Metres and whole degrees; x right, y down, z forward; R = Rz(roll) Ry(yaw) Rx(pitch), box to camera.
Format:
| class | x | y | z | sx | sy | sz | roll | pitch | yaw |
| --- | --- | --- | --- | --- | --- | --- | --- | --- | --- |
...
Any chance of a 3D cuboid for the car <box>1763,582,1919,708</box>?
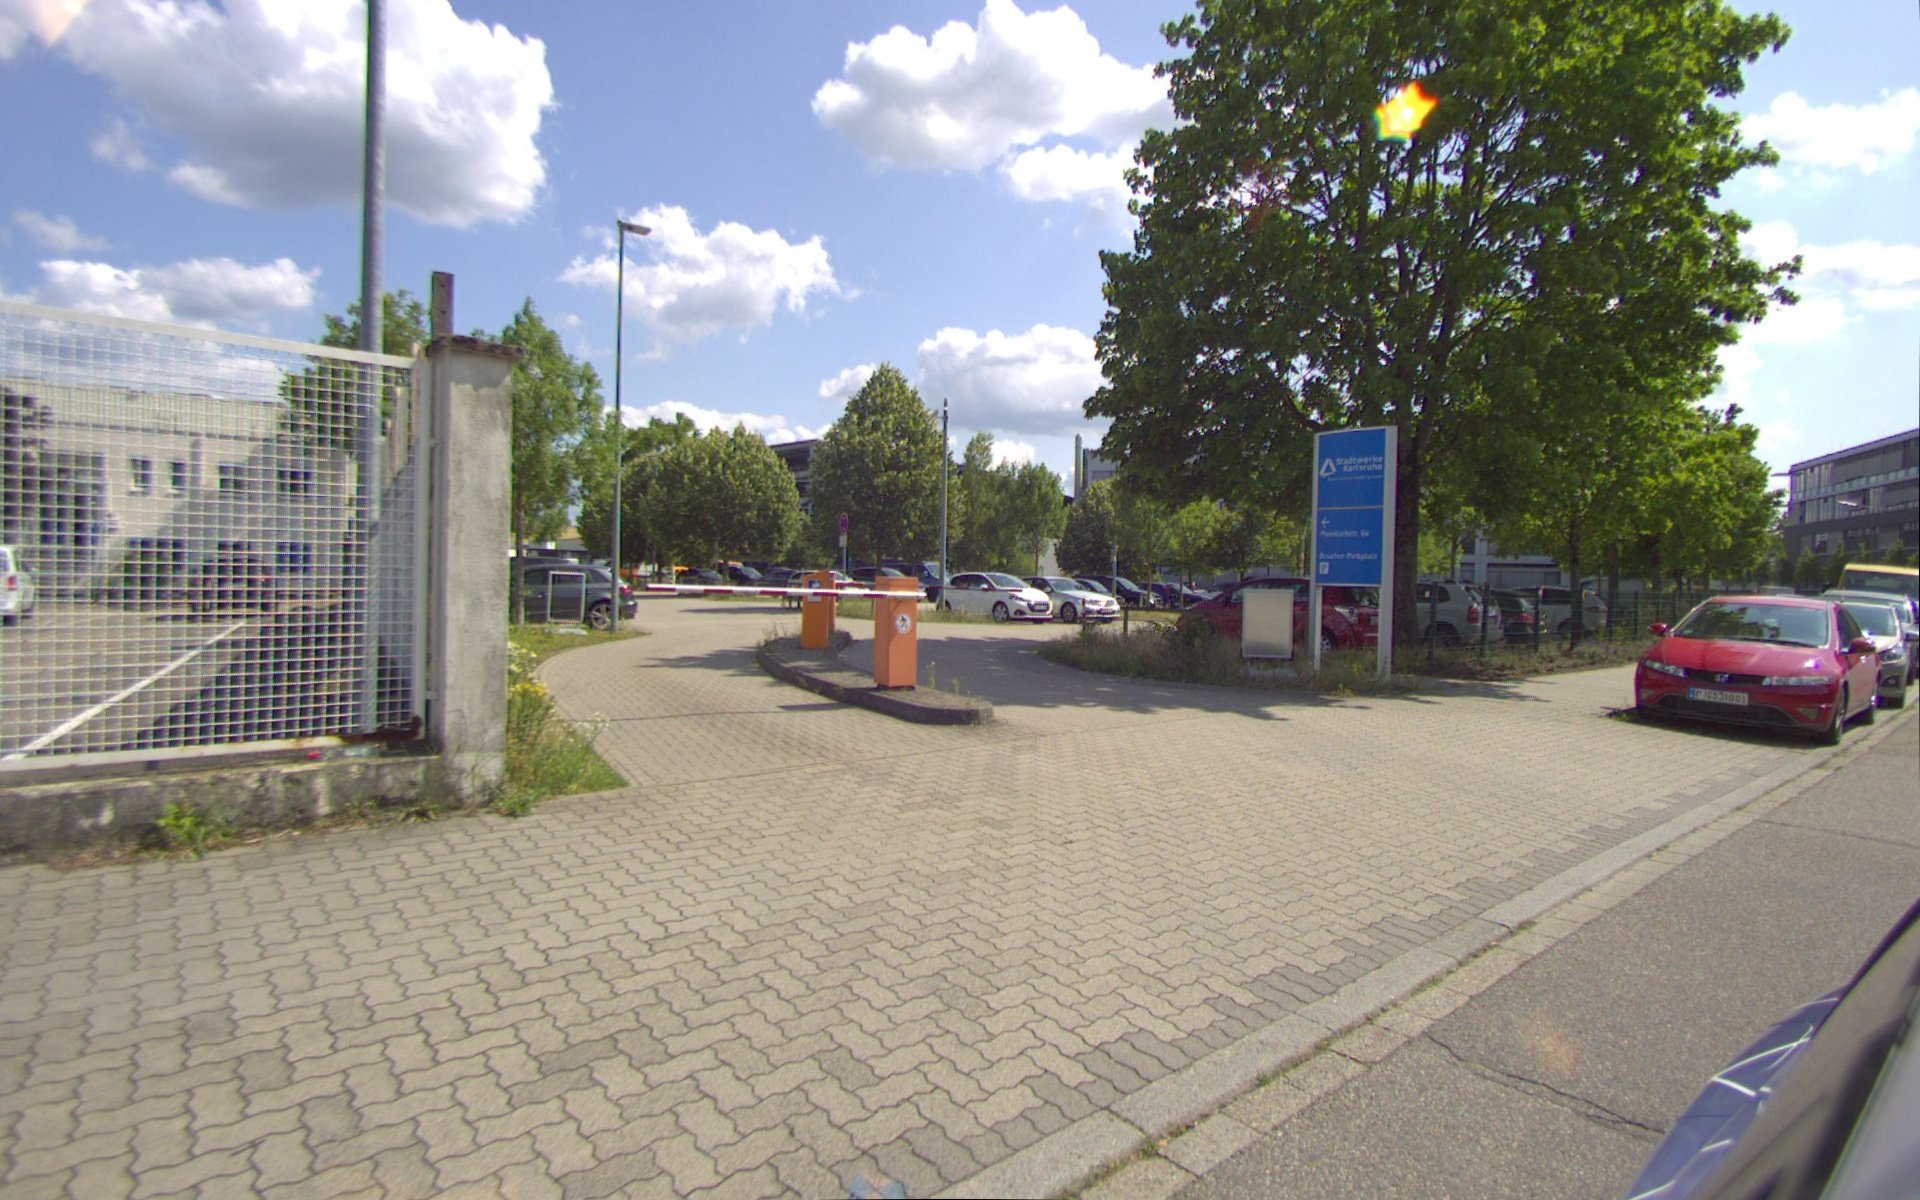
| class | x | y | z | sx | sy | sz | roll | pitch | yaw |
| --- | --- | --- | --- | --- | --- | --- | --- | --- | --- |
| car | 13.262 | 0.585 | 15.021 | 1.701 | 1.504 | 3.748 | 7 | 5 | 43 |

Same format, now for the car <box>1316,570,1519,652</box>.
| class | x | y | z | sx | sy | sz | roll | pitch | yaw |
| --- | --- | --- | --- | --- | --- | --- | --- | --- | --- |
| car | 10.639 | 0.191 | 23.727 | 1.876 | 1.657 | 3.883 | 0 | 2 | -40 |

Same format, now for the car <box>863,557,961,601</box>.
| class | x | y | z | sx | sy | sz | roll | pitch | yaw |
| --- | --- | --- | --- | --- | --- | --- | --- | --- | --- |
| car | -2.477 | -1.033 | 51.223 | 4.920 | 2.130 | 2.080 | 1 | 0 | 41 |

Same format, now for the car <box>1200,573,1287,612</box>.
| class | x | y | z | sx | sy | sz | roll | pitch | yaw |
| --- | --- | --- | --- | --- | --- | --- | --- | --- | --- |
| car | 15.278 | -0.423 | 54.669 | 4.073 | 1.959 | 1.971 | 2 | 1 | 38 |

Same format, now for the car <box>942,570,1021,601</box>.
| class | x | y | z | sx | sy | sz | roll | pitch | yaw |
| --- | --- | --- | --- | --- | --- | --- | --- | --- | --- |
| car | 1.143 | -0.750 | 54.177 | 3.982 | 1.576 | 1.863 | 1 | 0 | 41 |

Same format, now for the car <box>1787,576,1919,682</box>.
| class | x | y | z | sx | sy | sz | roll | pitch | yaw |
| --- | --- | --- | --- | --- | --- | --- | --- | --- | --- |
| car | 17.141 | 0.492 | 18.965 | 4.491 | 1.627 | 1.836 | 1 | 5 | -43 |

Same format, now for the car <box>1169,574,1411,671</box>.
| class | x | y | z | sx | sy | sz | roll | pitch | yaw |
| --- | --- | --- | --- | --- | --- | --- | --- | --- | --- |
| car | 6.488 | 0.362 | 20.265 | 1.876 | 1.613 | 4.218 | 0 | 2 | -40 |

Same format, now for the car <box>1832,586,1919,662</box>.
| class | x | y | z | sx | sy | sz | roll | pitch | yaw |
| --- | --- | --- | --- | --- | --- | --- | --- | --- | --- |
| car | 21.464 | 0.511 | 23.263 | 1.876 | 1.494 | 5.087 | 6 | 4 | 43 |

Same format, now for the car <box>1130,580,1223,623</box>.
| class | x | y | z | sx | sy | sz | roll | pitch | yaw |
| --- | --- | --- | --- | --- | --- | --- | --- | --- | --- |
| car | 10.845 | 0.043 | 50.789 | 4.073 | 1.959 | 1.971 | 2 | 1 | 38 |

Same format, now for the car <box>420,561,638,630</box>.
| class | x | y | z | sx | sy | sz | roll | pitch | yaw |
| --- | --- | --- | --- | --- | --- | --- | --- | --- | --- |
| car | -9.102 | -0.096 | 21.452 | 4.107 | 1.351 | 1.642 | 0 | 0 | -29 |

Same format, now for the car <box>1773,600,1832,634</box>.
| class | x | y | z | sx | sy | sz | roll | pitch | yaw |
| --- | --- | --- | --- | --- | --- | --- | --- | --- | --- |
| car | 48.074 | 0.928 | 57.802 | 1.854 | 1.703 | 4.656 | 5 | 3 | 32 |

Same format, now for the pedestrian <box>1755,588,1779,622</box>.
| class | x | y | z | sx | sy | sz | roll | pitch | yaw |
| --- | --- | --- | --- | --- | --- | --- | --- | --- | --- |
| pedestrian | 42.434 | 0.278 | 53.216 | 0.718 | 1.713 | 0.731 | 6 | 3 | 31 |

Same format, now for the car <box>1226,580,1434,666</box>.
| class | x | y | z | sx | sy | sz | roll | pitch | yaw |
| --- | --- | --- | --- | --- | --- | --- | --- | --- | --- |
| car | 8.118 | 0.428 | 22.444 | 1.876 | 1.613 | 3.883 | 0 | 2 | -40 |

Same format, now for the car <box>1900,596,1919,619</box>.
| class | x | y | z | sx | sy | sz | roll | pitch | yaw |
| --- | --- | --- | --- | --- | --- | --- | --- | --- | --- |
| car | 62.361 | 0.462 | 65.096 | 1.722 | 1.463 | 3.894 | 0 | 0 | 27 |

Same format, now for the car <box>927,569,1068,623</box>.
| class | x | y | z | sx | sy | sz | roll | pitch | yaw |
| --- | --- | --- | --- | --- | --- | --- | --- | --- | --- |
| car | 1.041 | -0.130 | 29.275 | 1.981 | 1.413 | 3.756 | 1 | 1 | -45 |

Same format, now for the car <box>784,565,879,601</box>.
| class | x | y | z | sx | sy | sz | roll | pitch | yaw |
| --- | --- | --- | --- | --- | --- | --- | --- | --- | --- |
| car | -5.930 | -0.768 | 46.533 | 4.262 | 1.576 | 1.971 | 1 | 0 | 40 |

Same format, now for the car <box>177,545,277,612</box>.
| class | x | y | z | sx | sy | sz | roll | pitch | yaw |
| --- | --- | --- | --- | --- | --- | --- | --- | --- | --- |
| car | -19.693 | -0.545 | 27.348 | 1.879 | 1.672 | 4.003 | 0 | 0 | -32 |

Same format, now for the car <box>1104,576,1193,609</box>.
| class | x | y | z | sx | sy | sz | roll | pitch | yaw |
| --- | --- | --- | --- | --- | --- | --- | --- | --- | --- |
| car | 8.805 | -0.344 | 47.424 | 3.741 | 1.431 | 1.728 | 1 | -2 | 38 |

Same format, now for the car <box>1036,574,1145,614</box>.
| class | x | y | z | sx | sy | sz | roll | pitch | yaw |
| --- | --- | --- | --- | --- | --- | --- | --- | --- | --- |
| car | 5.552 | -0.274 | 43.409 | 4.263 | 1.576 | 1.971 | 2 | 2 | 40 |

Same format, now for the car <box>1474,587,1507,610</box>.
| class | x | y | z | sx | sy | sz | roll | pitch | yaw |
| --- | --- | --- | --- | --- | --- | --- | --- | --- | --- |
| car | 38.738 | -0.120 | 73.954 | 1.806 | 1.668 | 3.311 | 0 | 0 | 22 |

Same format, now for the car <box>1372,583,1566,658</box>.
| class | x | y | z | sx | sy | sz | roll | pitch | yaw |
| --- | --- | --- | --- | --- | --- | --- | --- | --- | --- |
| car | 12.655 | 0.440 | 25.334 | 1.876 | 1.613 | 3.883 | 0 | 2 | -40 |

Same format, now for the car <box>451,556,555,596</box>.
| class | x | y | z | sx | sy | sz | roll | pitch | yaw |
| --- | --- | --- | --- | --- | --- | --- | --- | --- | --- |
| car | -19.198 | -1.007 | 42.554 | 3.917 | 1.568 | 1.744 | 0 | 2 | -26 |

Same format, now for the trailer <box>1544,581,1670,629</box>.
| class | x | y | z | sx | sy | sz | roll | pitch | yaw |
| --- | --- | --- | --- | --- | --- | --- | --- | --- | --- |
| trailer | 31.440 | 0.204 | 49.265 | 5.033 | 2.108 | 2.035 | 3 | 1 | 36 |

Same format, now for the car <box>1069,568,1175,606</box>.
| class | x | y | z | sx | sy | sz | roll | pitch | yaw |
| --- | --- | --- | --- | --- | --- | --- | --- | --- | --- |
| car | 7.233 | -0.609 | 45.387 | 4.263 | 1.576 | 1.971 | 2 | 2 | 40 |

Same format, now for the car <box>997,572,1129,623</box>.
| class | x | y | z | sx | sy | sz | roll | pitch | yaw |
| --- | --- | --- | --- | --- | --- | --- | --- | --- | --- |
| car | 3.121 | -0.097 | 31.297 | 1.809 | 1.413 | 4.016 | 1 | 1 | -37 |

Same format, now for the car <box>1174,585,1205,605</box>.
| class | x | y | z | sx | sy | sz | roll | pitch | yaw |
| --- | --- | --- | --- | --- | --- | --- | --- | --- | --- |
| car | 18.950 | -0.462 | 83.492 | 1.934 | 1.567 | 3.972 | 0 | 1 | 22 |

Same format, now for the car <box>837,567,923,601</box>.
| class | x | y | z | sx | sy | sz | roll | pitch | yaw |
| --- | --- | --- | --- | --- | --- | --- | --- | --- | --- |
| car | -3.882 | -0.774 | 48.801 | 3.983 | 1.576 | 1.970 | 1 | 0 | 41 |

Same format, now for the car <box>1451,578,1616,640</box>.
| class | x | y | z | sx | sy | sz | roll | pitch | yaw |
| --- | --- | --- | --- | --- | --- | --- | --- | --- | --- |
| car | 18.109 | 0.236 | 32.064 | 4.309 | 1.641 | 1.739 | 4 | 2 | 38 |

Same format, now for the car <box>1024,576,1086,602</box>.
| class | x | y | z | sx | sy | sz | roll | pitch | yaw |
| --- | --- | --- | --- | --- | --- | --- | --- | --- | --- |
| car | 6.632 | -0.765 | 70.756 | 3.981 | 1.792 | 1.971 | 1 | 0 | 40 |

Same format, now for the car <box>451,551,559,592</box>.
| class | x | y | z | sx | sy | sz | roll | pitch | yaw |
| --- | --- | --- | --- | --- | --- | --- | --- | --- | --- |
| car | -18.388 | -1.147 | 40.932 | 3.918 | 1.568 | 1.743 | 0 | 2 | -26 |

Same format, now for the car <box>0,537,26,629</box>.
| class | x | y | z | sx | sy | sz | roll | pitch | yaw |
| --- | --- | --- | --- | --- | --- | --- | --- | --- | --- |
| car | -23.647 | -0.491 | 24.147 | 1.902 | 1.971 | 5.063 | 0 | 4 | -42 |

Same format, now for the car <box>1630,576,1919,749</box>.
| class | x | y | z | sx | sy | sz | roll | pitch | yaw |
| --- | --- | --- | --- | --- | --- | --- | --- | --- | --- |
| car | 9.418 | 0.595 | 11.585 | 4.150 | 1.504 | 1.758 | 1 | 5 | -41 |

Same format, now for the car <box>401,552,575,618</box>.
| class | x | y | z | sx | sy | sz | roll | pitch | yaw |
| --- | --- | --- | --- | --- | --- | --- | --- | --- | --- |
| car | -12.036 | -0.387 | 25.838 | 3.919 | 1.568 | 1.743 | 0 | 2 | -29 |

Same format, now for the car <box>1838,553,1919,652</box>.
| class | x | y | z | sx | sy | sz | roll | pitch | yaw |
| --- | --- | --- | --- | --- | --- | --- | --- | --- | --- |
| car | 26.441 | 0.058 | 28.561 | 2.158 | 2.495 | 6.536 | 4 | 3 | 43 |

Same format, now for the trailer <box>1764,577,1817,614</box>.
| class | x | y | z | sx | sy | sz | roll | pitch | yaw |
| --- | --- | --- | --- | --- | --- | --- | --- | --- | --- |
| trailer | 50.377 | -0.279 | 61.463 | 1.738 | 2.092 | 3.904 | 5 | 3 | 31 |

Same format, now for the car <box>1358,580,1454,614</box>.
| class | x | y | z | sx | sy | sz | roll | pitch | yaw |
| --- | --- | --- | --- | --- | --- | --- | --- | --- | --- |
| car | 25.883 | -0.219 | 58.811 | 4.839 | 1.788 | 1.890 | 3 | 2 | 37 |
